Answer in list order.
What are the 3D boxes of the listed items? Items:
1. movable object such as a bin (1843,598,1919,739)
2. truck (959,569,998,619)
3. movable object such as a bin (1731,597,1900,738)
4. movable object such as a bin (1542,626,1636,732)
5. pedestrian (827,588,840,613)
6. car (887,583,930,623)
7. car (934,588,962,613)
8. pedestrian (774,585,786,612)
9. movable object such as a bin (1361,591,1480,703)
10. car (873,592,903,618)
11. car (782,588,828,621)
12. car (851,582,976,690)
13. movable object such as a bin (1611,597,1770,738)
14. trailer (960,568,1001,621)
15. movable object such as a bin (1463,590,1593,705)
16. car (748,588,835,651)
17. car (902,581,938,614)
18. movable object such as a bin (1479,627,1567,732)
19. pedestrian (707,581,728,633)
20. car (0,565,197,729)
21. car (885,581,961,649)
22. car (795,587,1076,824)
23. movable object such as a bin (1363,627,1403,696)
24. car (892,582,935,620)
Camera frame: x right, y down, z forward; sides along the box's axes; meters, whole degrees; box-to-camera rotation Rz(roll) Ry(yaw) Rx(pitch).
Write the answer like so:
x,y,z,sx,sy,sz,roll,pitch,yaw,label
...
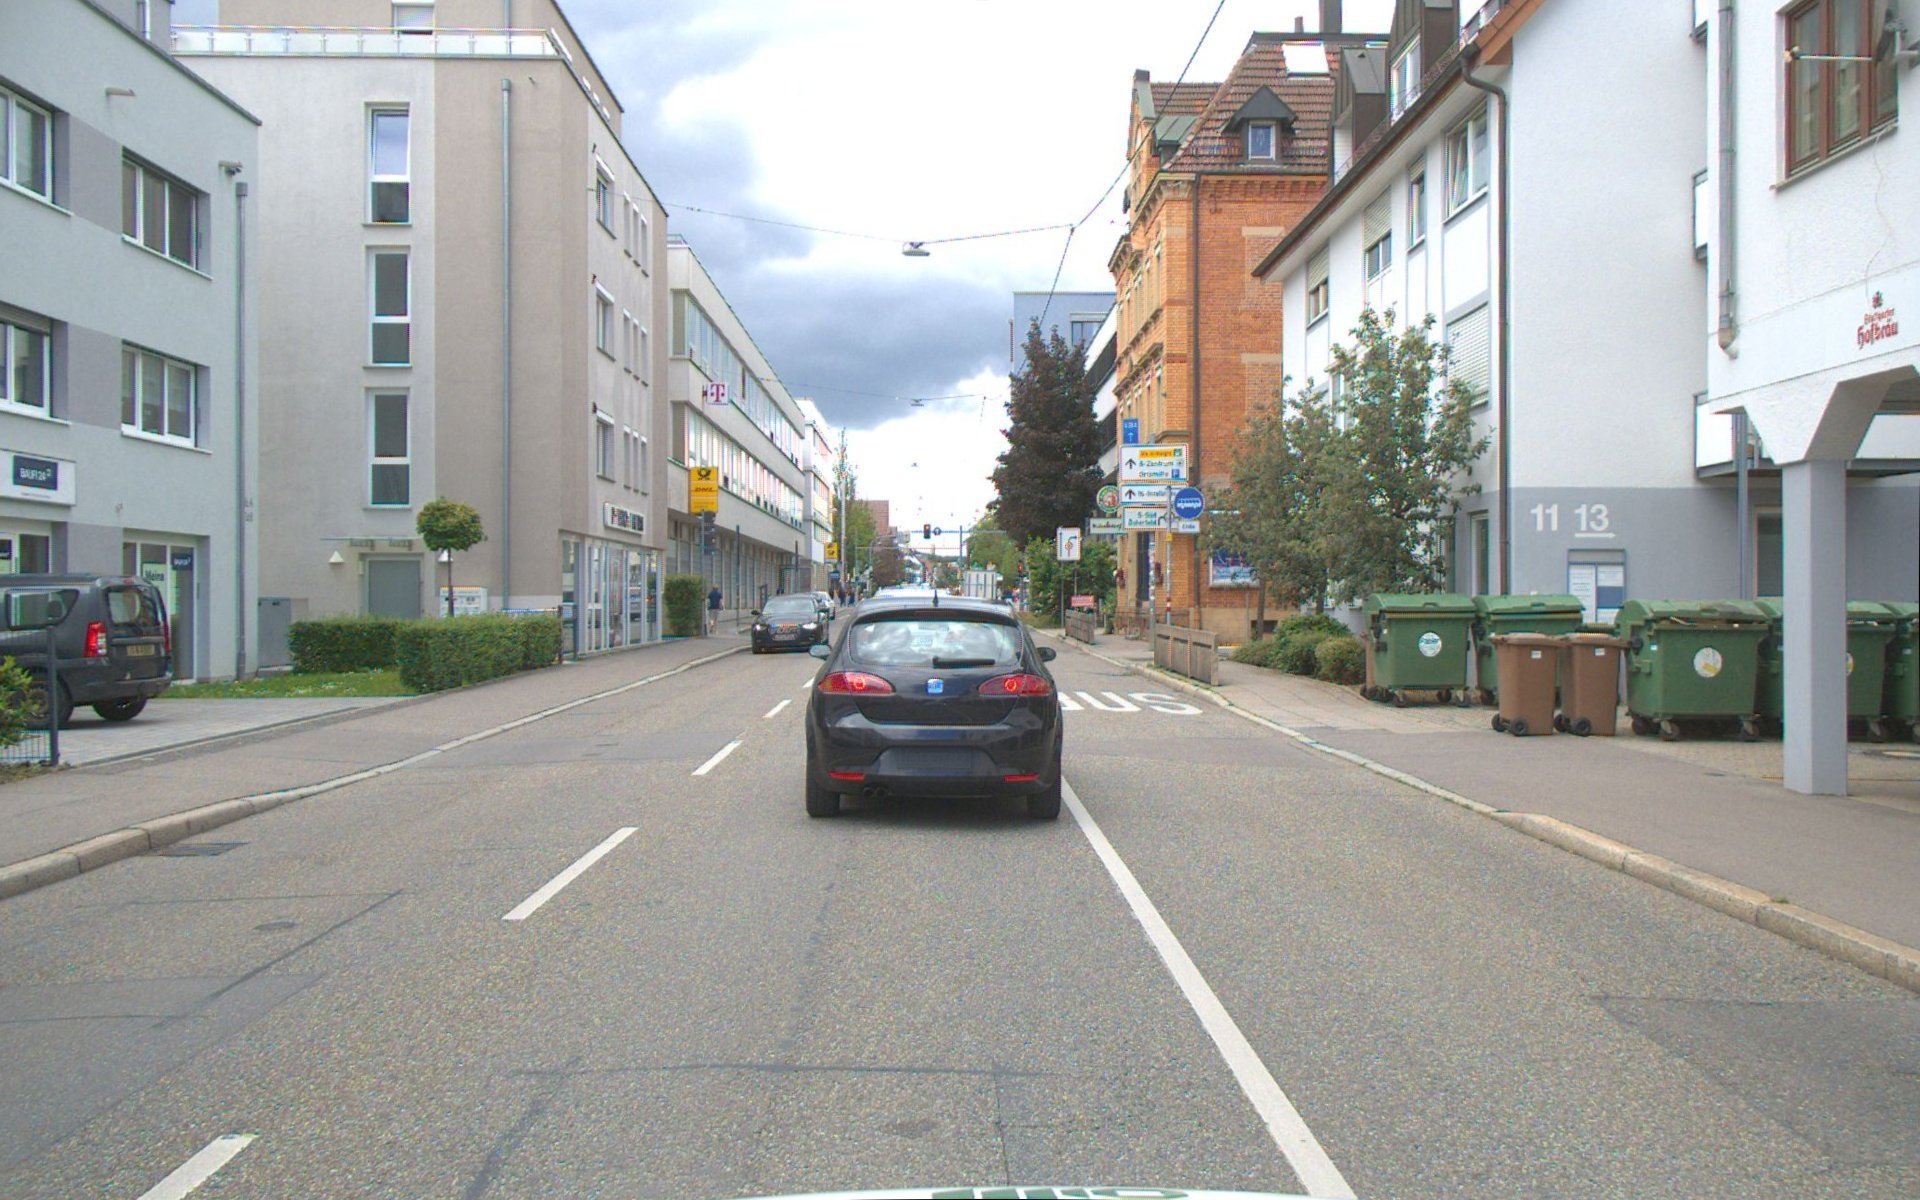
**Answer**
x,y,z,sx,sy,sz,roll,pitch,yaw,label
10.331,0.703,17.652,1.184,1.442,1.260,0,0,3,movable object such as a bin
0.967,-0.333,88.761,1.953,2.653,3.259,0,0,-2,truck
9.098,0.696,17.657,1.184,1.442,1.260,0,0,3,movable object such as a bin
6.827,0.846,17.982,0.683,1.098,0.972,0,0,3,movable object such as a bin
-9.438,0.040,123.246,0.899,1.901,0.783,0,0,-2,pedestrian
-2.177,0.100,70.728,1.767,1.629,3.736,1,0,-2,car
-0.819,0.024,110.916,1.767,1.629,3.736,1,0,-2,car
-10.934,-0.110,100.516,0.642,1.651,0.681,0,0,0,pedestrian
6.080,0.602,21.916,1.241,1.442,1.162,0,0,-1,movable object such as a bin
-5.137,0.327,118.487,1.953,1.769,4.552,-2,0,-2,car
-7.471,0.187,79.982,1.953,1.543,4.173,0,0,-2,car
-0.701,0.498,25.154,1.767,1.519,3.736,0,0,-2,car
7.763,0.692,17.650,1.184,1.442,1.260,0,0,3,movable object such as a bin
1.041,-0.308,85.990,1.953,2.653,5.347,0,0,-2,trailer
7.411,0.601,21.650,1.241,1.460,1.307,0,0,-1,movable object such as a bin
-4.298,0.458,42.780,1.840,1.476,4.213,-2,0,-1,car
-2.025,-0.129,84.452,1.767,1.629,3.736,1,0,-2,car
6.111,0.849,17.995,0.669,1.086,0.972,0,0,3,movable object such as a bin
-8.458,0.224,57.700,0.630,1.800,0.809,0,0,-3,pedestrian
-10.780,0.500,18.091,4.076,1.697,1.725,0,0,2,car
-0.911,0.341,40.535,1.767,1.580,3.736,0,0,-2,car
-0.177,0.639,12.127,1.730,1.458,3.828,0,0,-1,car
5.807,0.839,22.726,0.421,0.937,0.465,0,0,-1,movable object such as a bin
-1.971,0.037,70.592,1.767,1.580,3.736,0,0,-2,car
